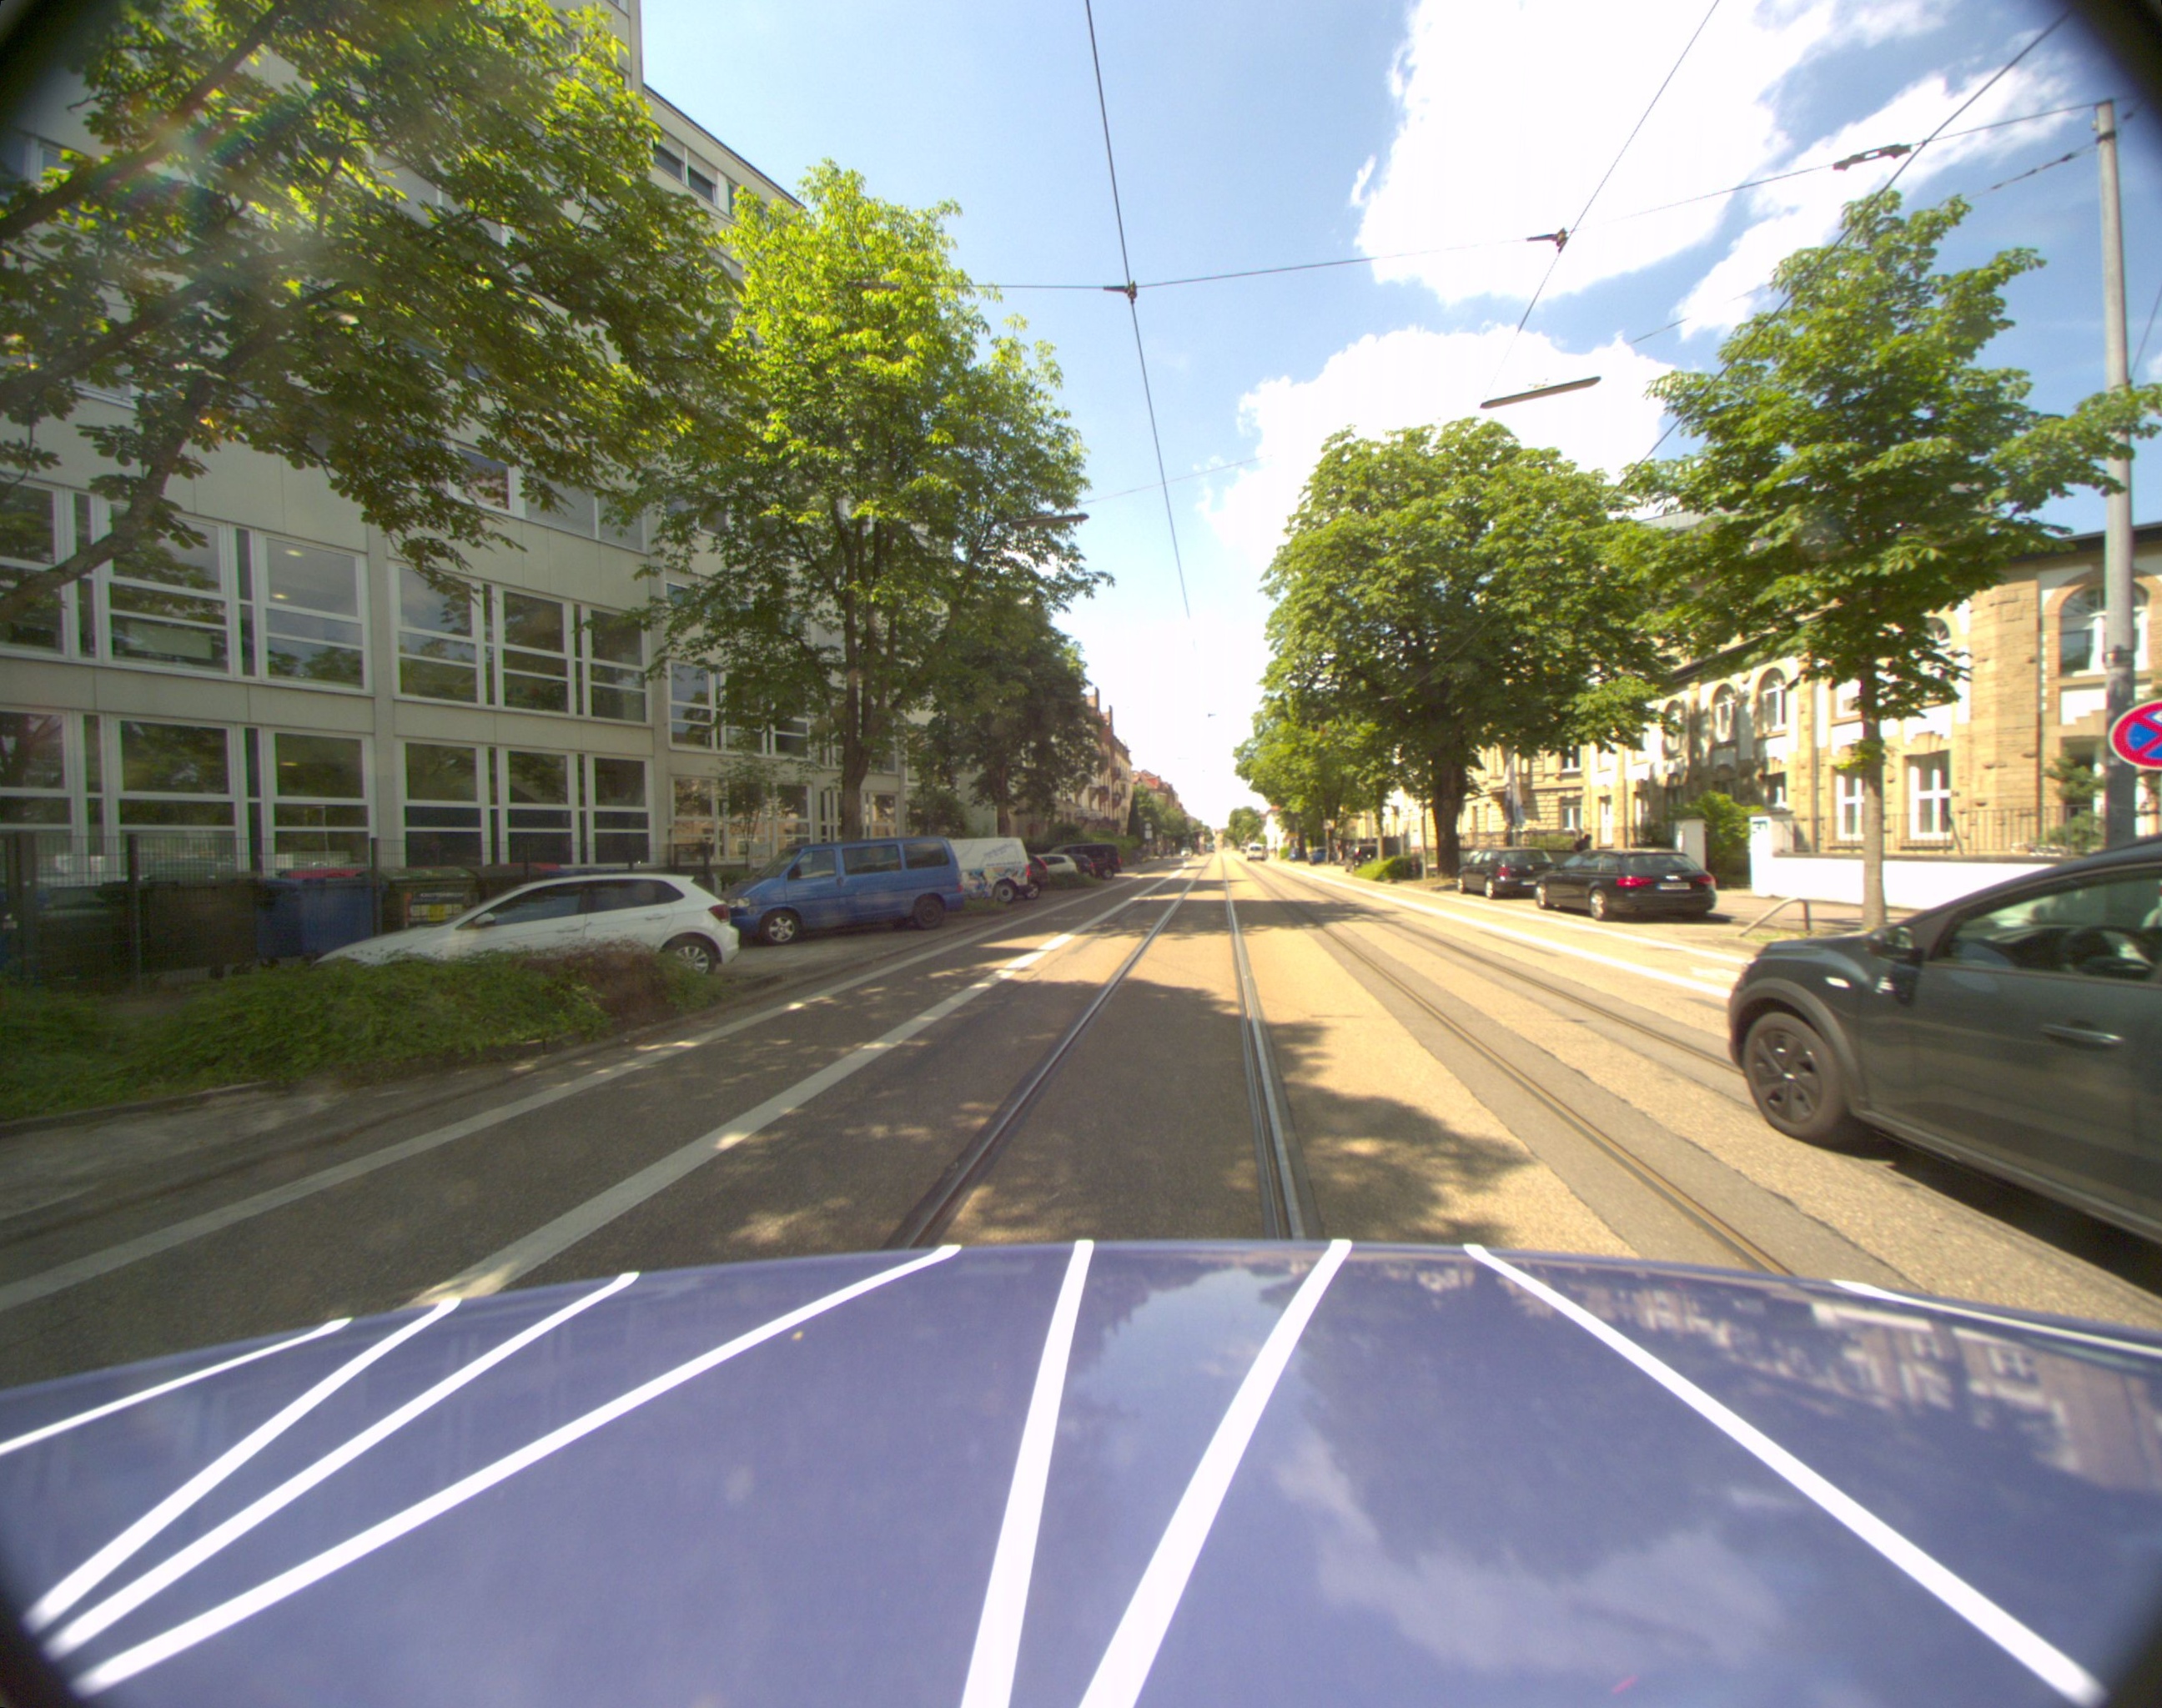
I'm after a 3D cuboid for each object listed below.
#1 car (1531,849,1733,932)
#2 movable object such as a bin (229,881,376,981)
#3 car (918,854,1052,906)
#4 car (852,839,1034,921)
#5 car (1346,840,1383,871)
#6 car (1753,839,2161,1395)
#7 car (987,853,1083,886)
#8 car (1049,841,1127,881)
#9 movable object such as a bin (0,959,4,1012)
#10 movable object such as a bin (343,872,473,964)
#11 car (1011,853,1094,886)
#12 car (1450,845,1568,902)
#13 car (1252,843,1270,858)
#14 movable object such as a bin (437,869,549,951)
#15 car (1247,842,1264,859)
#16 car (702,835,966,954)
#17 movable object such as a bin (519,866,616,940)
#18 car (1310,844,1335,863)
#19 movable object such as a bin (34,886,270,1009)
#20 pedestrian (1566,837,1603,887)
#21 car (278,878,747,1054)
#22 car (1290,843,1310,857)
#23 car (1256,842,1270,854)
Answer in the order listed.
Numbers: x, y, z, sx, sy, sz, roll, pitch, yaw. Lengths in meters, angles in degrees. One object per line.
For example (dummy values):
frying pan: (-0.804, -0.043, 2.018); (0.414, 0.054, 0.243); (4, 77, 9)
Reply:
car: (11.112, 0.659, 15.729); (1.881, 1.410, 4.154); (-2, 1, 12)
movable object such as a bin: (-11.268, 1.090, 11.041); (0.969, 1.323, 1.078); (-2, 1, 12)
car: (-3.150, 0.816, 24.911); (4.004, 1.477, 1.667); (-2, 1, -24)
car: (-3.872, 0.659, 21.457); (4.637, 2.002, 1.995); (-2, 1, -27)
car: (16.361, 0.060, 43.991); (1.726, 1.605, 4.004); (-2, 1, 17)
car: (3.924, 0.770, 1.835); (1.604, 1.642, 4.003); (-1, 0, 10)
car: (-2.061, 0.673, 34.408); (4.008, 1.379, 1.746); (1, 1, -37)
car: (0.344, 0.352, 41.328); (3.999, 2.002, 1.998); (-2, 1, -7)
movable object such as a bin: (-13.037, 1.149, 8.587); (0.765, 1.397, 0.805); (-2, 1, 24)
movable object such as a bin: (-11.100, 1.033, 12.569); (1.035, 1.390, 1.183); (-2, 1, 18)
car: (-1.478, 0.746, 38.330); (3.999, 1.499, 1.947); (-2, 1, -7)
car: (12.298, 0.517, 22.092); (1.949, 1.435, 3.776); (-2, 1, 12)
car: (20.762, -0.439, 87.812); (1.761, 1.709, 4.003); (-1, 1, 11)
movable object such as a bin: (-10.766, 1.005, 13.949); (1.035, 1.390, 1.183); (-2, 1, 18)
car: (18.619, -0.378, 81.212); (1.676, 1.709, 4.003); (-1, 1, 11)
car: (-4.904, 0.686, 15.391); (4.638, 2.002, 1.995); (-2, 1, -35)
movable object such as a bin: (-10.400, 0.974, 15.438); (1.035, 1.390, 1.183); (-2, 1, 18)
car: (19.900, -0.078, 62.753); (1.809, 1.470, 4.004); (-2, 1, 16)
movable object such as a bin: (-11.500, 1.117, 9.481); (1.124, 1.323, 1.453); (-2, 1, 12)
pedestrian: (15.870, 0.247, 23.978); (0.696, 1.558, 0.744); (-2, 1, 8)
car: (-6.240, 1.087, 8.847); (3.988, 1.405, 1.710); (-2, 1, -36)
car: (25.273, -0.478, 87.648); (1.835, 1.477, 4.003); (-2, 1, 11)
car: (25.614, -0.845, 106.985); (1.761, 1.709, 4.003); (-1, 1, 11)
